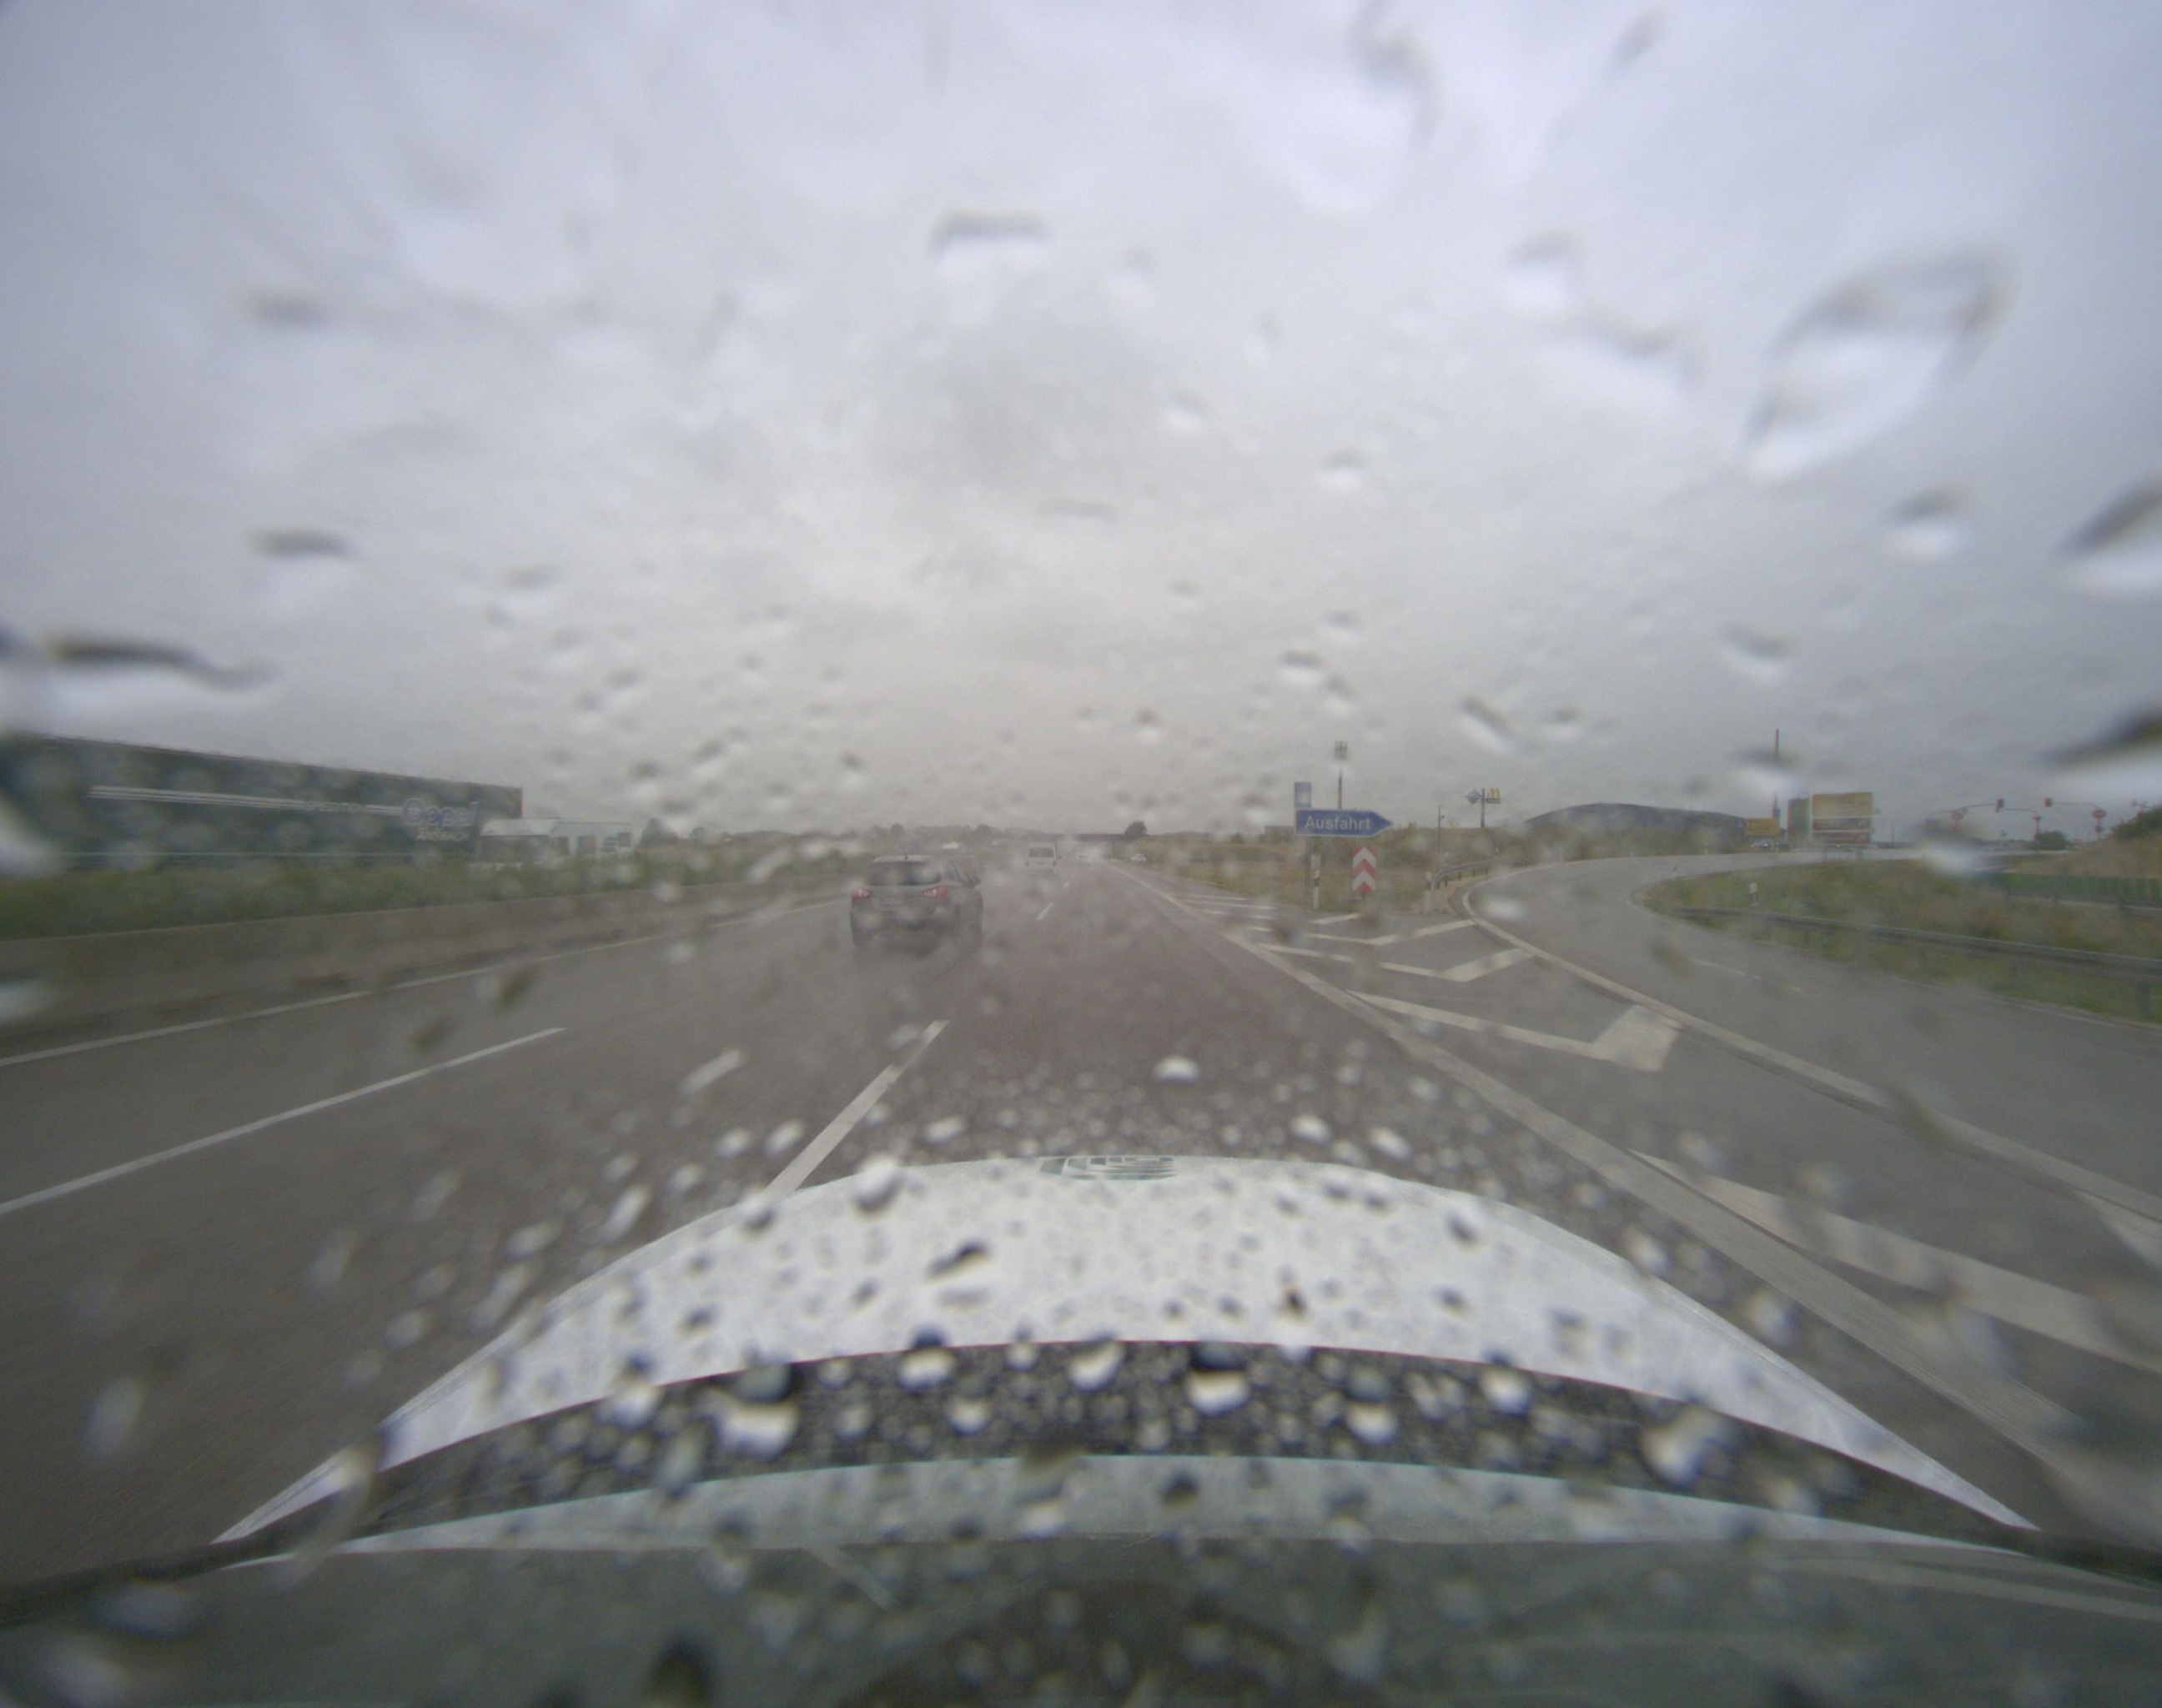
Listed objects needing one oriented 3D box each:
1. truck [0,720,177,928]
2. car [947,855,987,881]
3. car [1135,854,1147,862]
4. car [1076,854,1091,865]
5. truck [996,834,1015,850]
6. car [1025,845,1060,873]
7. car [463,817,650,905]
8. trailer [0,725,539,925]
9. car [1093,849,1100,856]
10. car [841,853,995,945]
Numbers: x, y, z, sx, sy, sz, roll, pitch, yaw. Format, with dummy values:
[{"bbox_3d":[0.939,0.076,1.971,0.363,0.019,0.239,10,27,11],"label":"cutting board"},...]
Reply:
[{"bbox_3d":[-21.764,-0.575,15.946,2.205,3.983,5.186,0,0,1],"label":"truck"},{"bbox_3d":[-6.254,0.740,45.022,1.607,1.354,4.000,0,0,1],"label":"car"},{"bbox_3d":[10.259,0.694,139.402,1.986,1.266,4.002,0,0,2],"label":"car"},{"bbox_3d":[0.254,0.571,85.911,1.462,1.208,2.992,0,0,1],"label":"car"},{"bbox_3d":[-17.097,-2.656,185.232,3.255,3.441,10.128,-1,0,0],"label":"truck"},{"bbox_3d":[-2.274,0.289,48.714,1.891,1.585,3.999,0,0,0],"label":"car"},{"bbox_3d":[-17.820,0.206,28.240,2.489,2.706,6.204,0,0,-1],"label":"car"},{"bbox_3d":[-21.581,-0.572,23.348,2.216,3.997,14.210,0,0,1],"label":"trailer"},{"bbox_3d":[4.560,-0.373,238.907,1.989,2.101,3.996,1,1,-3],"label":"car"},{"bbox_3d":[-2.948,0.748,15.863,1.839,1.513,4.759,0,0,2],"label":"car"}]
